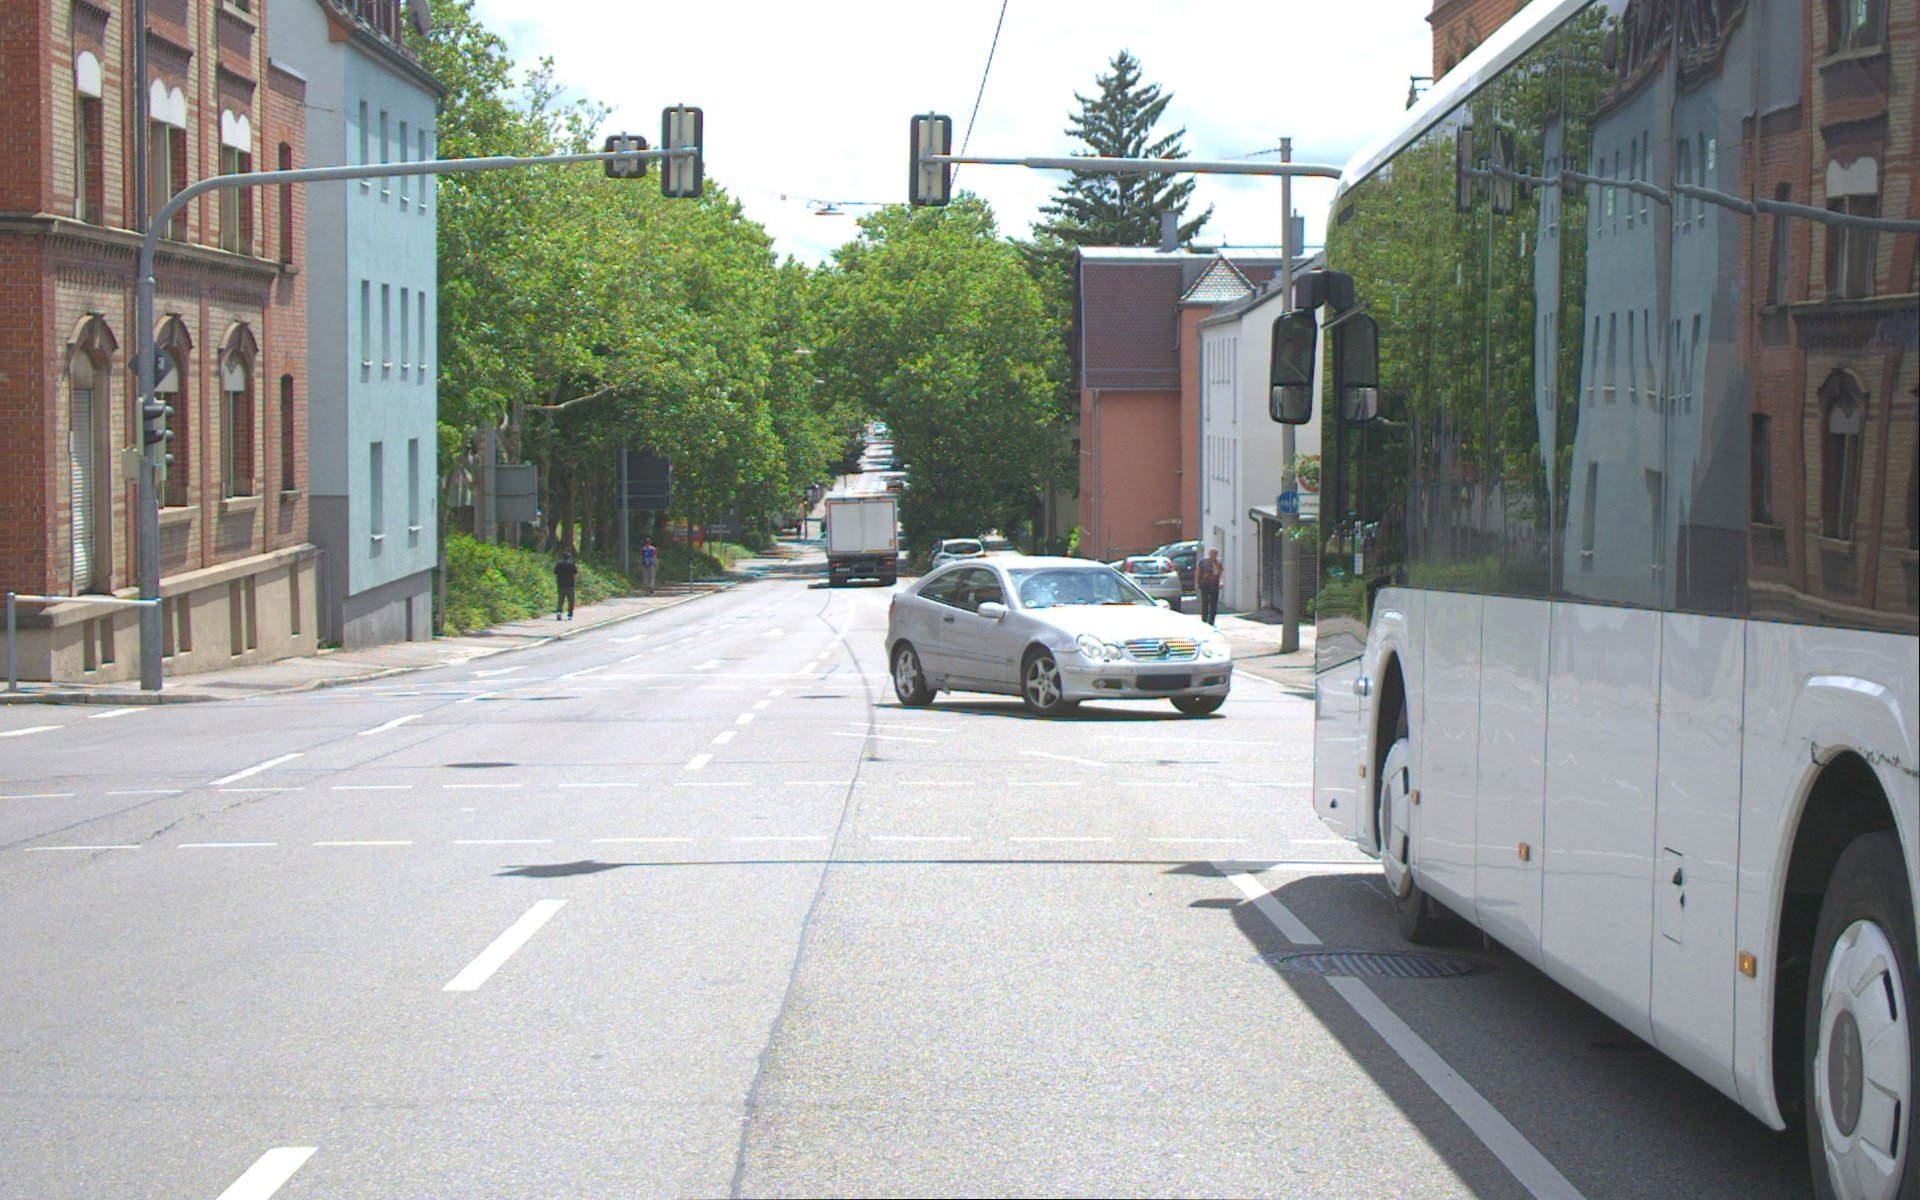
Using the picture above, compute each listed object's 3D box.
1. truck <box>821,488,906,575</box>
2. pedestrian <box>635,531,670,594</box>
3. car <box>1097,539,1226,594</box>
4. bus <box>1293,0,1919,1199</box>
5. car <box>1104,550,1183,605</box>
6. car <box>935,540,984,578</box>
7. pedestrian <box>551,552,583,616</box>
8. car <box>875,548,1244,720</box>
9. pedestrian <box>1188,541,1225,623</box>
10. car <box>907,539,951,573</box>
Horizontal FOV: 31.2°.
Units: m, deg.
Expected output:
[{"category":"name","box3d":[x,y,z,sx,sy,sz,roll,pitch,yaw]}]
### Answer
[{"category":"truck","box3d":[-3.645,-2.564,127.747,2.926,3.070,7.887,-1,1,-3]},{"category":"pedestrian","box3d":[-9.943,-1.206,111.137,0.995,2.007,1.189,-1,1,-1]},{"category":"car","box3d":[6.646,-1.114,113.447,3.986,1.751,2.000,-1,1,-5]},{"category":"bus","box3d":[2.944,-0.180,9.519,2.672,3.145,12.463,1,1,-1]},{"category":"car","box3d":[4.971,-0.626,93.348,1.794,1.405,4.001,-1,2,-2]},{"category":"car","box3d":[-0.029,-1.557,129.666,1.794,1.405,4.000,1,1,-1]},{"category":"pedestrian","box3d":[-9.560,-0.386,83.658,0.729,1.560,0.561,0,1,-1]},{"category":"car","box3d":[0.823,0.256,31.143,1.698,1.422,4.001,-1,1,-25]},{"category":"pedestrian","box3d":[5.337,-0.392,74.474,0.738,1.744,0.619,-1,1,-1]},{"category":"car","box3d":[-1.300,-1.866,146.103,1.794,1.405,4.419,1,1,0]}]
